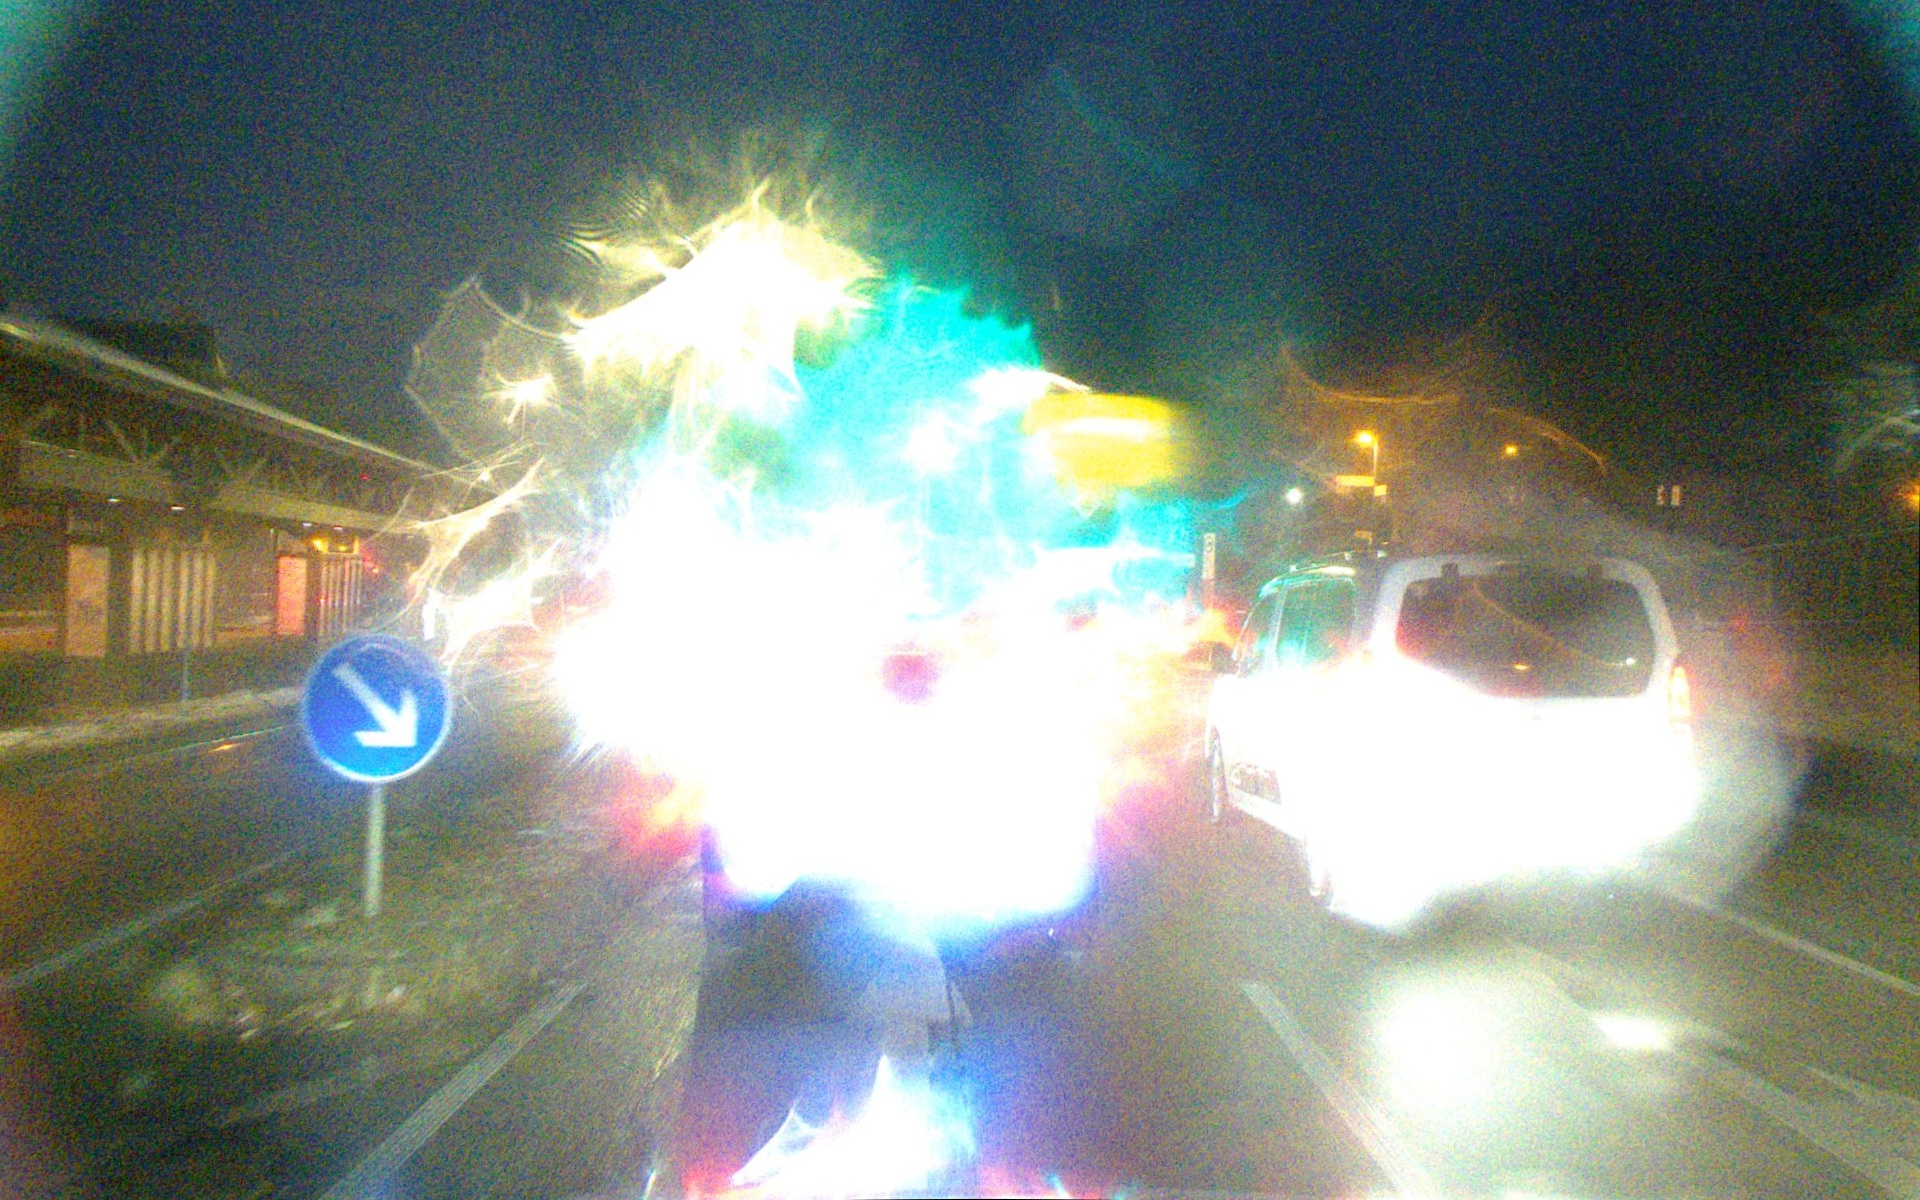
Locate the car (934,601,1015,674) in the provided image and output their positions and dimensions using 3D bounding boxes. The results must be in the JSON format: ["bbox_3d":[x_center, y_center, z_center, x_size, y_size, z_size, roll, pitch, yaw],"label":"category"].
[{"bbox_3d":[0.337,0.948,42.650,1.953,1.748,3.999,1,-1,-1],"label":"car"}]

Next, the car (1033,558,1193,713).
[{"bbox_3d":[2.191,0.503,24.720,1.929,2.083,3.999,1,-1,-1],"label":"car"}]

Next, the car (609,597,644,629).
[{"bbox_3d":[-21.815,0.847,107.949,1.960,2.049,3.984,1,-1,-15],"label":"car"}]

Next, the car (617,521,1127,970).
[{"bbox_3d":[-0.540,0.601,8.752,1.975,1.747,4.446,1,-1,-6],"label":"car"}]

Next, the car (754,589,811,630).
[{"bbox_3d":[-8.401,0.456,77.986,1.961,1.852,3.982,1,-1,-16],"label":"car"}]

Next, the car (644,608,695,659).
[{"bbox_3d":[-12.464,1.400,70.790,1.979,1.920,4.439,2,1,-12],"label":"car"}]

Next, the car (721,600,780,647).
[{"bbox_3d":[-8.746,0.951,68.748,1.960,1.856,3.986,1,-1,-14],"label":"car"}]

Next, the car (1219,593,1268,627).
[{"bbox_3d":[14.695,0.520,85.949,1.827,1.675,3.962,-1,0,-1],"label":"car"}]

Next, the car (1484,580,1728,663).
[{"bbox_3d":[12.587,0.395,32.268,4.244,1.485,1.849,1,-1,28],"label":"car"}]

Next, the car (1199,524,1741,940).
[{"bbox_3d":[2.698,0.634,9.880,1.814,1.897,4.339,1,-1,-1],"label":"car"}]

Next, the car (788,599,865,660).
[{"bbox_3d":[-4.147,0.889,50.877,1.957,1.763,3.990,1,-1,-10],"label":"car"}]
